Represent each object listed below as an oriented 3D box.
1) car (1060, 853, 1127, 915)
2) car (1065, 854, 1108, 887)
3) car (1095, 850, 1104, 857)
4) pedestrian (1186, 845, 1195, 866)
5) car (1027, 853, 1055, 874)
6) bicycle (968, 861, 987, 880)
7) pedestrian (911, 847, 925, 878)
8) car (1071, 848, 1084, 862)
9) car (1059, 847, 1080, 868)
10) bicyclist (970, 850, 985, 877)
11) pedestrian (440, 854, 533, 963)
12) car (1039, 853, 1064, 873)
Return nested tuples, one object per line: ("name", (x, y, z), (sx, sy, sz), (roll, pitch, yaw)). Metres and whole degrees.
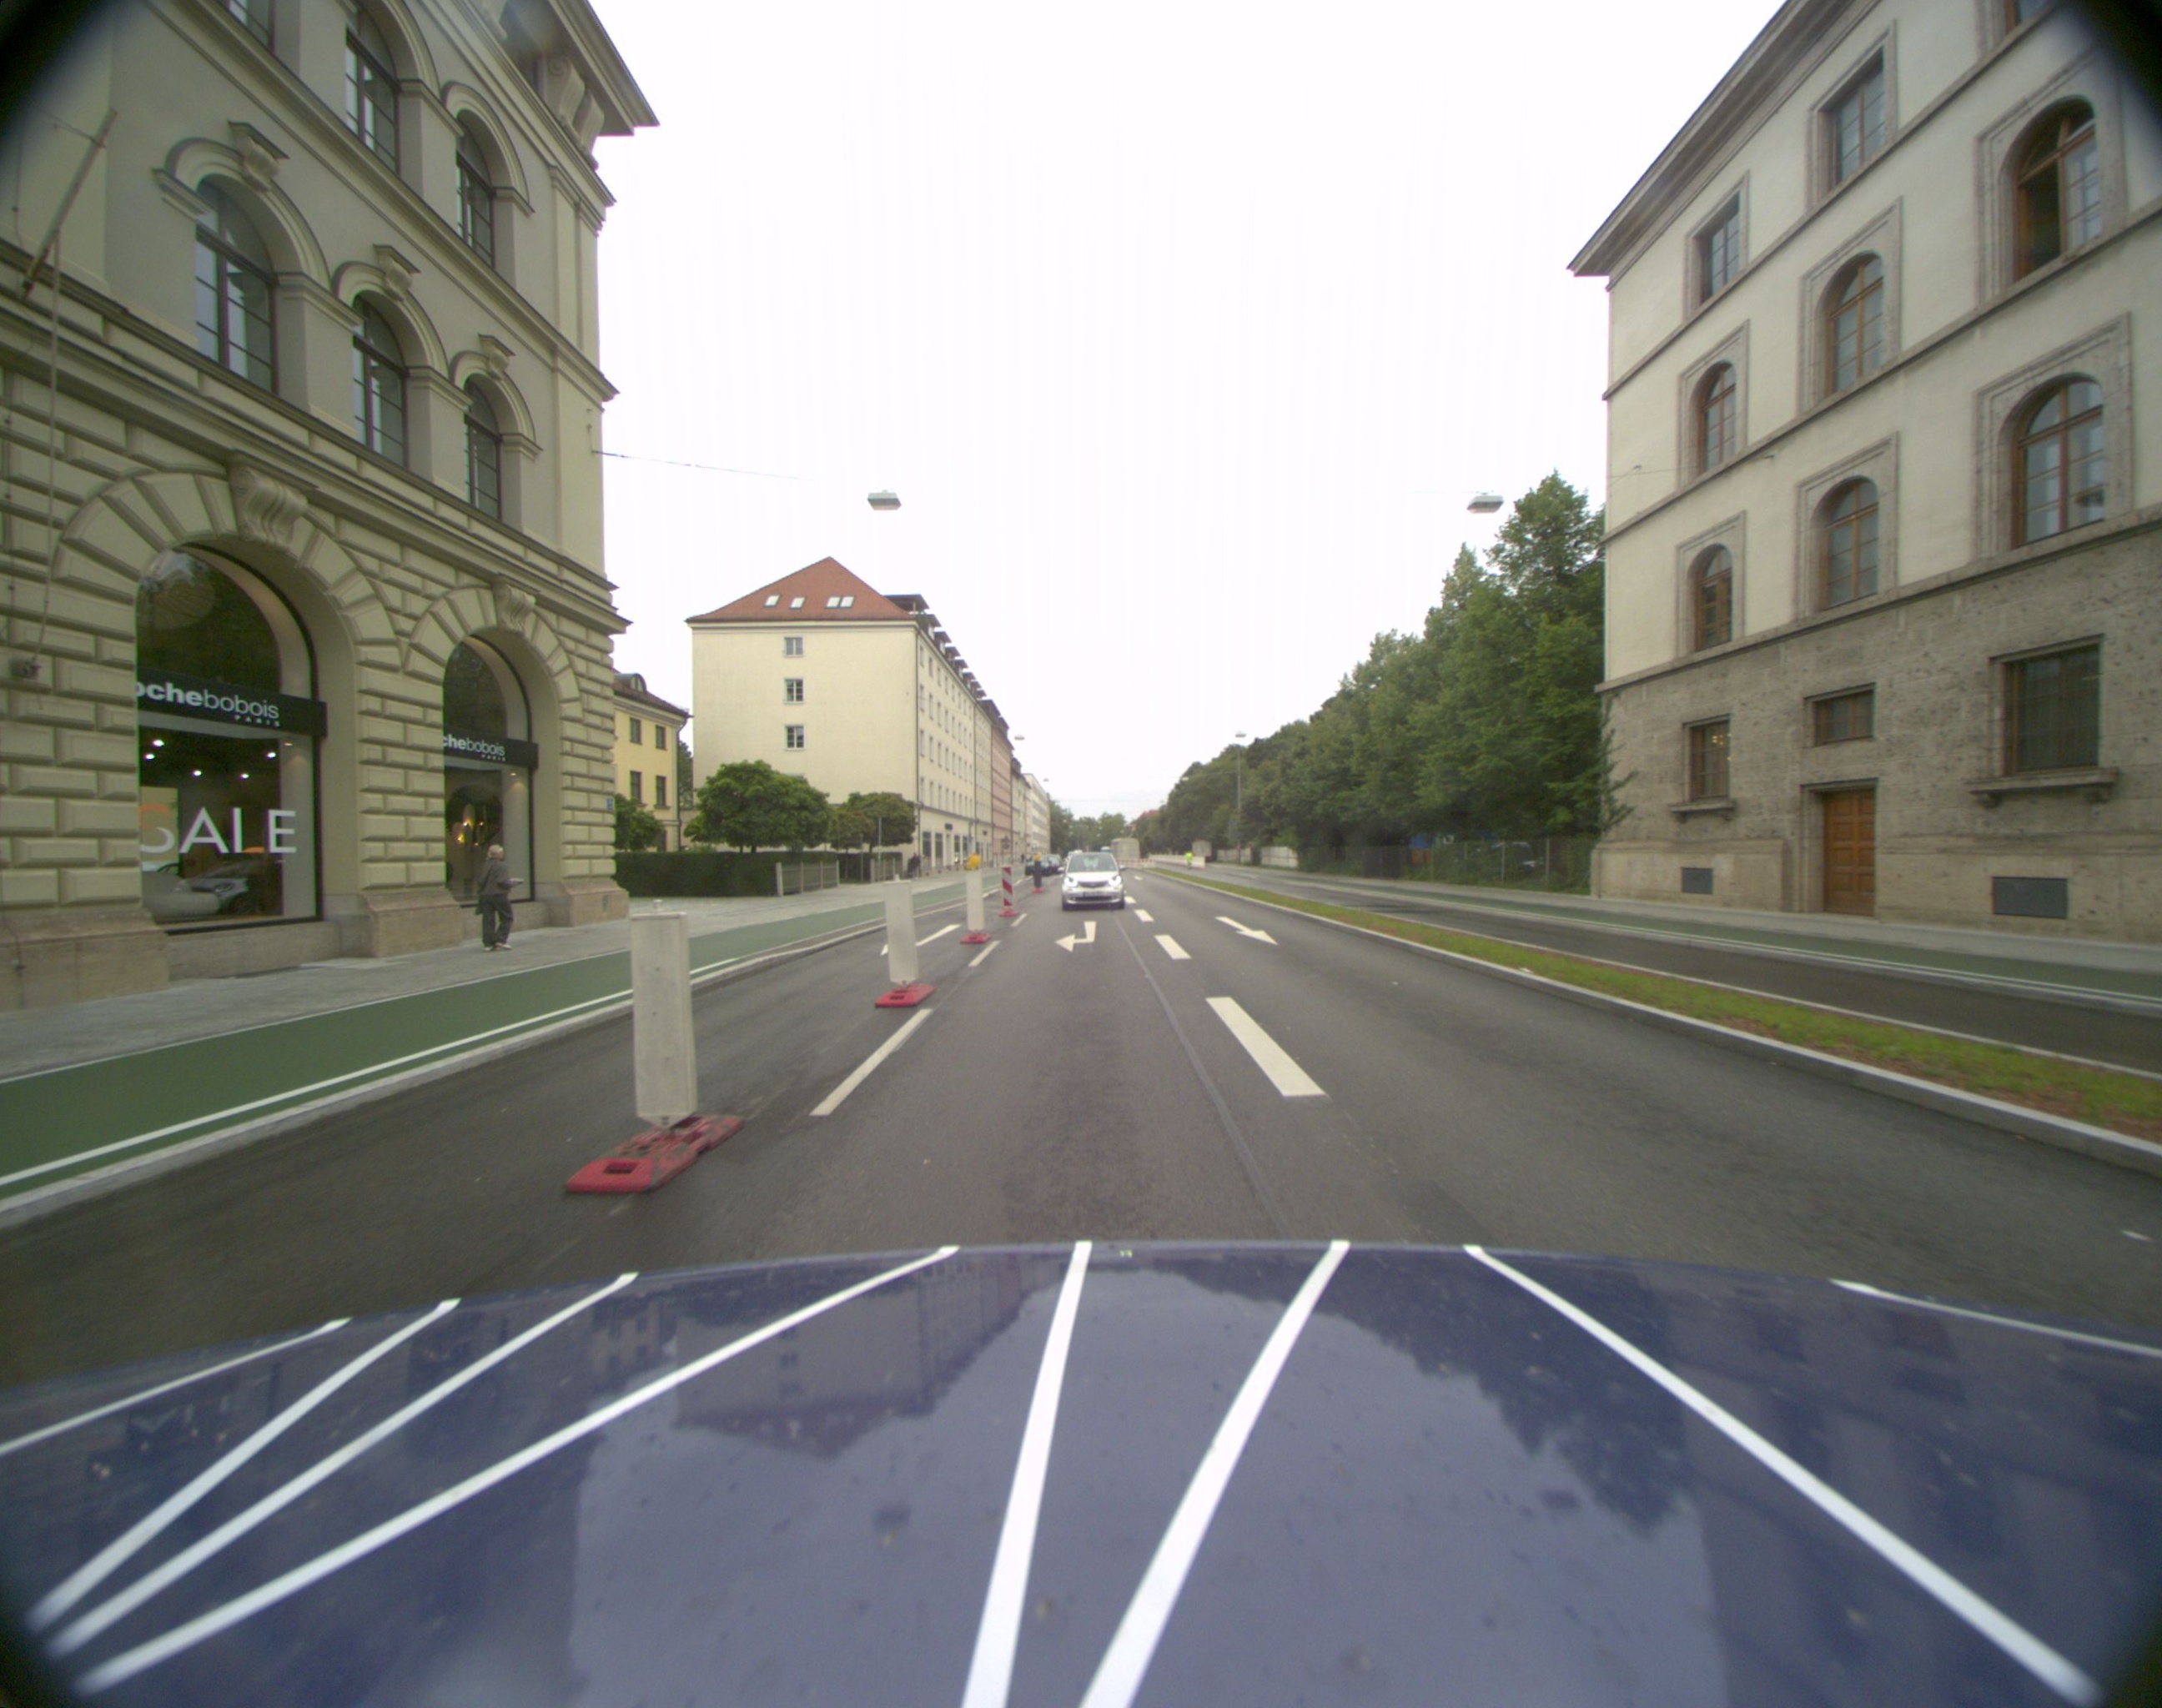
("car", (0.338, 0.763, 21.046), (1.633, 1.495, 4.000), (-1, 0, 1))
("car", (0.259, 0.765, 37.245), (1.922, 1.433, 4.306), (-3, 0, 0))
("car", (3.480, -0.103, 144.421), (1.739, 1.425, 4.000), (-1, 0, 1))
("pedestrian", (10.714, 0.115, 74.345), (0.757, 2.002, 0.867), (-2, 1, 1))
("car", (-2.779, 0.643, 53.429), (1.739, 1.313, 4.000), (-1, 0, 1))
("bicycle", (-6.141, 0.945, 45.240), (0.751, 1.026, 2.531), (-2, 0, 0))
("pedestrian", (-9.805, 0.498, 45.825), (0.655, 1.863, 0.826), (1, 1, 1))
("car", (-0.520, 0.156, 116.116), (1.998, 2.002, 4.000), (0, 1, 1))
("car", (-1.143, 0.335, 77.540), (1.998, 2.002, 3.999), (0, 0, 0))
("bicyclist", (-6.154, 0.552, 45.227), (0.724, 1.543, 0.858), (-2, 1, 0))
("pedestrian", (-9.666, 0.857, 12.393), (0.634, 1.694, 1.085), (0, 1, 0))
("car", (-2.234, 0.645, 58.684), (1.739, 1.425, 4.000), (-1, 0, 1))
